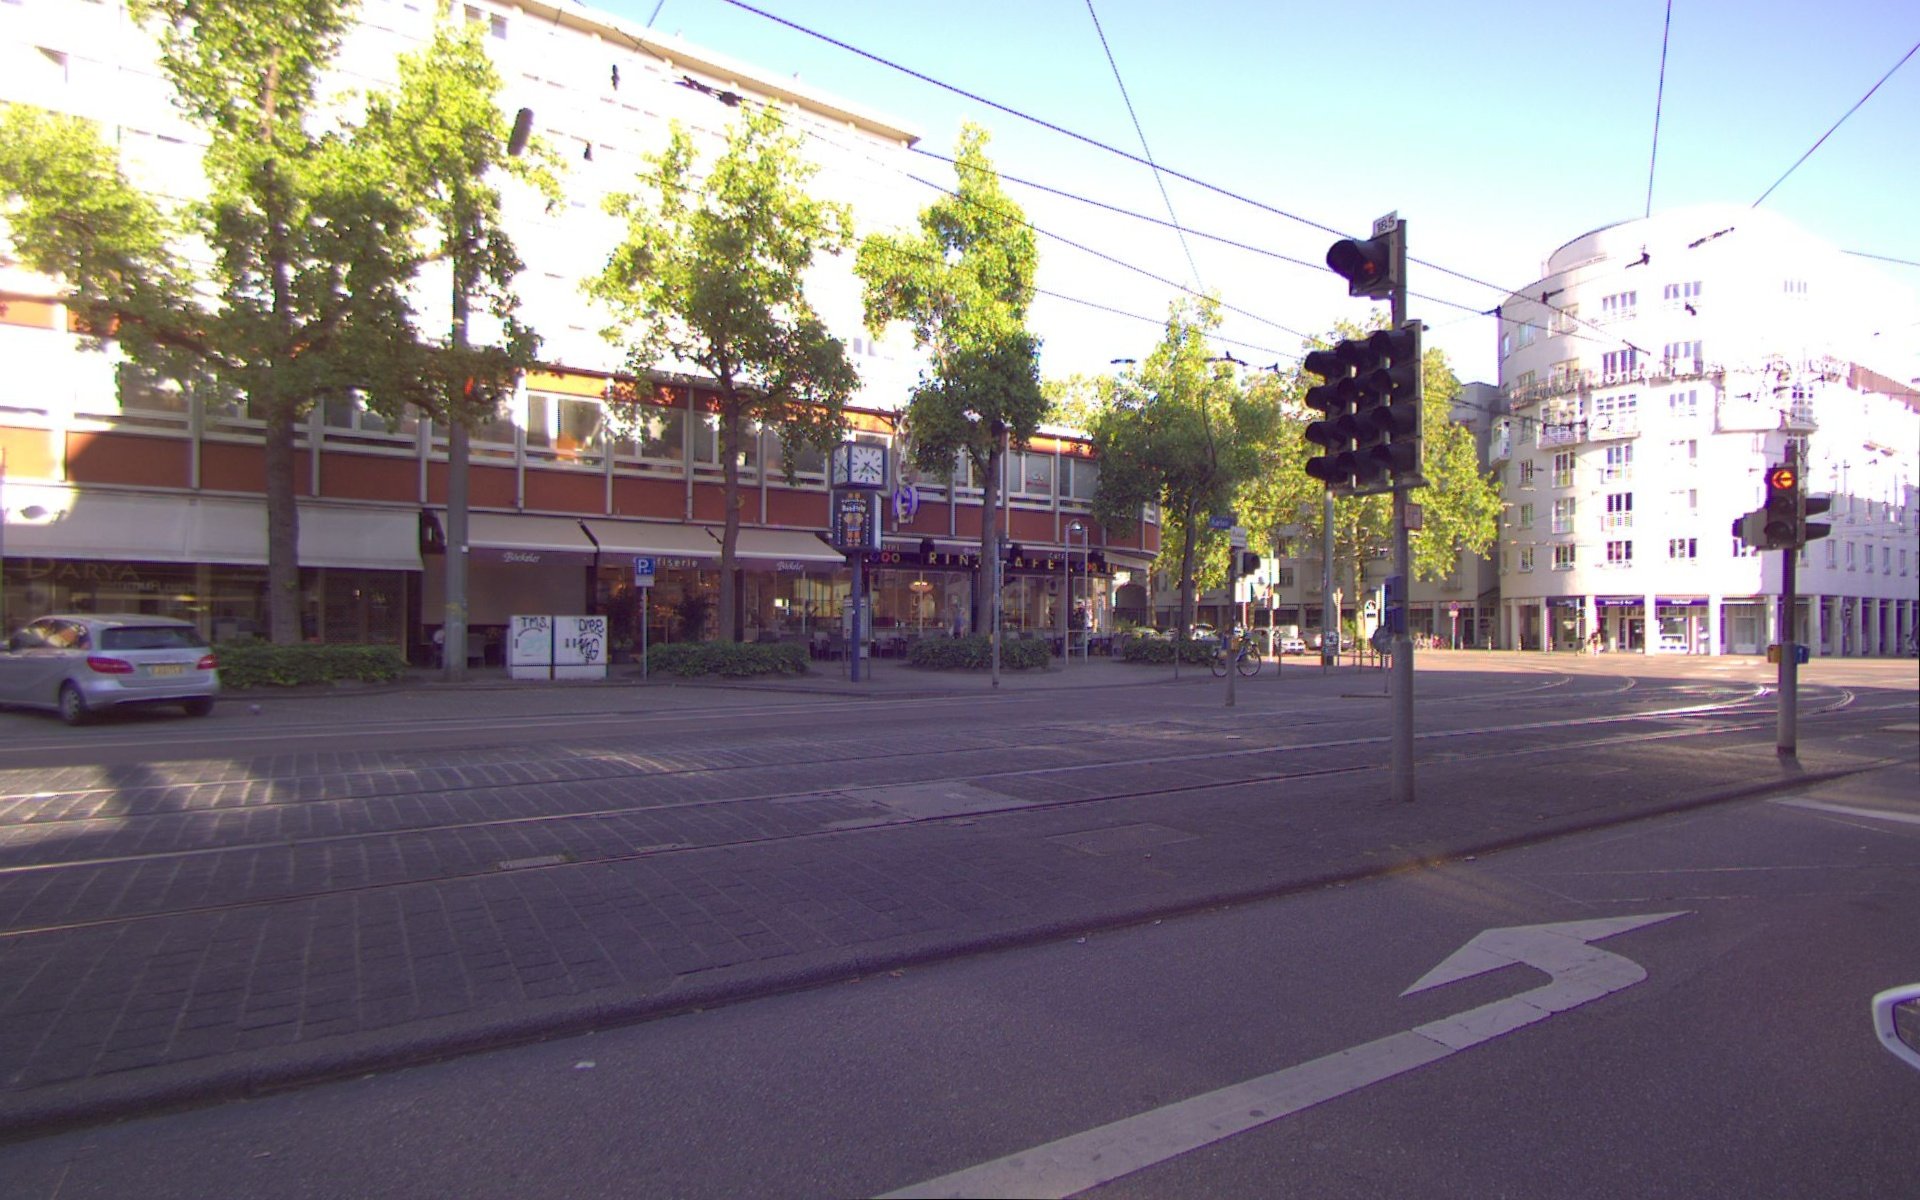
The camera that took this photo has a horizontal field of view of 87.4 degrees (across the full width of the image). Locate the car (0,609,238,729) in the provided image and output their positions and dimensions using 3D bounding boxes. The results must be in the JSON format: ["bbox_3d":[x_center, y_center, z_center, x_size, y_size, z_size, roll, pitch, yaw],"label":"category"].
[{"bbox_3d":[-13.550,0.990,15.757,4.200,1.587,1.825,1,-1,26],"label":"car"}]

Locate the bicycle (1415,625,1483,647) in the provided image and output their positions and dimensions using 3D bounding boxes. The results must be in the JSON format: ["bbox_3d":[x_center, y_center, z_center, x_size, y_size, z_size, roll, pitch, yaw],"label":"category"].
[{"bbox_3d":[35.216,2.590,72.416,1.053,1.550,4.684,1,-2,-29],"label":"bicycle"}]

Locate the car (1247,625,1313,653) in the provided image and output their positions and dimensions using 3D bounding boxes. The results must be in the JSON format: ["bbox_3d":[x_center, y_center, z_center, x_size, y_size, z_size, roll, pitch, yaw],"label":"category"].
[{"bbox_3d":[18.694,2.279,58.766,1.605,1.579,4.001,0,-2,-19],"label":"car"}]

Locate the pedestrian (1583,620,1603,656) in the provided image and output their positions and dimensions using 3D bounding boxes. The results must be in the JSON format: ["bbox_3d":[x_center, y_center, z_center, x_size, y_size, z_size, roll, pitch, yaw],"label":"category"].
[{"bbox_3d":[36.197,2.174,57.422,0.930,2.040,0.939,0,-1,30],"label":"pedestrian"}]

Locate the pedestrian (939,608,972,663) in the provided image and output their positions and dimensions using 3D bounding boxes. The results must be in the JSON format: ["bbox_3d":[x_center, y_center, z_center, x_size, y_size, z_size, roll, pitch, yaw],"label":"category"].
[{"bbox_3d":[-0.145,1.154,32.777,0.866,1.745,0.700,0,1,-34],"label":"pedestrian"}]

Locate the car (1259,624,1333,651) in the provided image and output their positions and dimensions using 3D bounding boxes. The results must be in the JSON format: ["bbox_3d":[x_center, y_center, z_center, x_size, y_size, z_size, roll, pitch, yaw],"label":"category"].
[{"bbox_3d":[21.636,2.400,64.832,1.687,1.662,4.416,1,-2,-34],"label":"car"}]

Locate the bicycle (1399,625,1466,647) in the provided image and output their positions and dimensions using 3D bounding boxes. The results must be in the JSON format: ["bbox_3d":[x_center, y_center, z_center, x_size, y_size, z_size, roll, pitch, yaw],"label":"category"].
[{"bbox_3d":[33.754,2.558,71.901,1.053,1.550,4.684,1,-2,-29],"label":"bicycle"}]

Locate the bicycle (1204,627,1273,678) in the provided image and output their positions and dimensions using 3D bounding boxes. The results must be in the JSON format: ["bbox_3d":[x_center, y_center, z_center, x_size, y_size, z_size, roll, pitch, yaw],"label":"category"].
[{"bbox_3d":[7.649,1.425,27.543,1.884,1.345,0.667,1,2,-30],"label":"bicycle"}]

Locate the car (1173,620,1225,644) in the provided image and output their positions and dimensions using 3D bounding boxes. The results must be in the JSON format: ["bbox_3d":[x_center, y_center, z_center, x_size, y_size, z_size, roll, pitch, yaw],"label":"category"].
[{"bbox_3d":[19.860,2.667,83.412,3.954,1.990,1.984,1,-1,-31],"label":"car"}]

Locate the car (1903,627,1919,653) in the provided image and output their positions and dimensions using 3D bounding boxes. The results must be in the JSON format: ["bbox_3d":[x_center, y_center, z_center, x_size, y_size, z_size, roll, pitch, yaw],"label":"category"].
[{"bbox_3d":[58.390,2.388,60.316,3.423,1.566,1.756,1,-2,-32],"label":"car"}]

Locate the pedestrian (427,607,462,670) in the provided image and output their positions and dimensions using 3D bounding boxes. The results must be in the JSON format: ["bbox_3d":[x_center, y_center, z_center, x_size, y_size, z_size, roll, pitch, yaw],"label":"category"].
[{"bbox_3d":[-13.361,0.986,26.024,0.699,1.584,0.867,1,-1,-33],"label":"pedestrian"}]

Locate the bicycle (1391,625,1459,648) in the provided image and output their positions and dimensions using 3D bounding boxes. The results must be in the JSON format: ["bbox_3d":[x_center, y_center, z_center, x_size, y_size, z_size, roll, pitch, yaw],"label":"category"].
[{"bbox_3d":[32.893,2.544,71.123,1.053,1.550,4.684,1,-2,-29],"label":"bicycle"}]

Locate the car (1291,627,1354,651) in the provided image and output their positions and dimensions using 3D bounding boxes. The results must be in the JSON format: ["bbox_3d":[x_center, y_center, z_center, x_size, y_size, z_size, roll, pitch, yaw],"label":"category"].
[{"bbox_3d":[24.110,2.588,66.926,1.595,1.551,3.972,0,-1,-27],"label":"car"}]

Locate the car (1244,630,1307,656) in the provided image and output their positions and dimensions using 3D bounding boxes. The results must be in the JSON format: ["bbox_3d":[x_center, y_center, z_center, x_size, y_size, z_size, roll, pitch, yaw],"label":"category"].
[{"bbox_3d":[16.815,2.292,53.696,1.738,1.312,4.014,0,-2,-7],"label":"car"}]

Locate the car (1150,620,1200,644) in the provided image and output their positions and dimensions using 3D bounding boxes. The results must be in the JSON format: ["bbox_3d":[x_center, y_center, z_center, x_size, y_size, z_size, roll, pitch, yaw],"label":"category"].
[{"bbox_3d":[18.378,2.705,85.923,3.954,1.990,1.984,1,-1,-31],"label":"car"}]
